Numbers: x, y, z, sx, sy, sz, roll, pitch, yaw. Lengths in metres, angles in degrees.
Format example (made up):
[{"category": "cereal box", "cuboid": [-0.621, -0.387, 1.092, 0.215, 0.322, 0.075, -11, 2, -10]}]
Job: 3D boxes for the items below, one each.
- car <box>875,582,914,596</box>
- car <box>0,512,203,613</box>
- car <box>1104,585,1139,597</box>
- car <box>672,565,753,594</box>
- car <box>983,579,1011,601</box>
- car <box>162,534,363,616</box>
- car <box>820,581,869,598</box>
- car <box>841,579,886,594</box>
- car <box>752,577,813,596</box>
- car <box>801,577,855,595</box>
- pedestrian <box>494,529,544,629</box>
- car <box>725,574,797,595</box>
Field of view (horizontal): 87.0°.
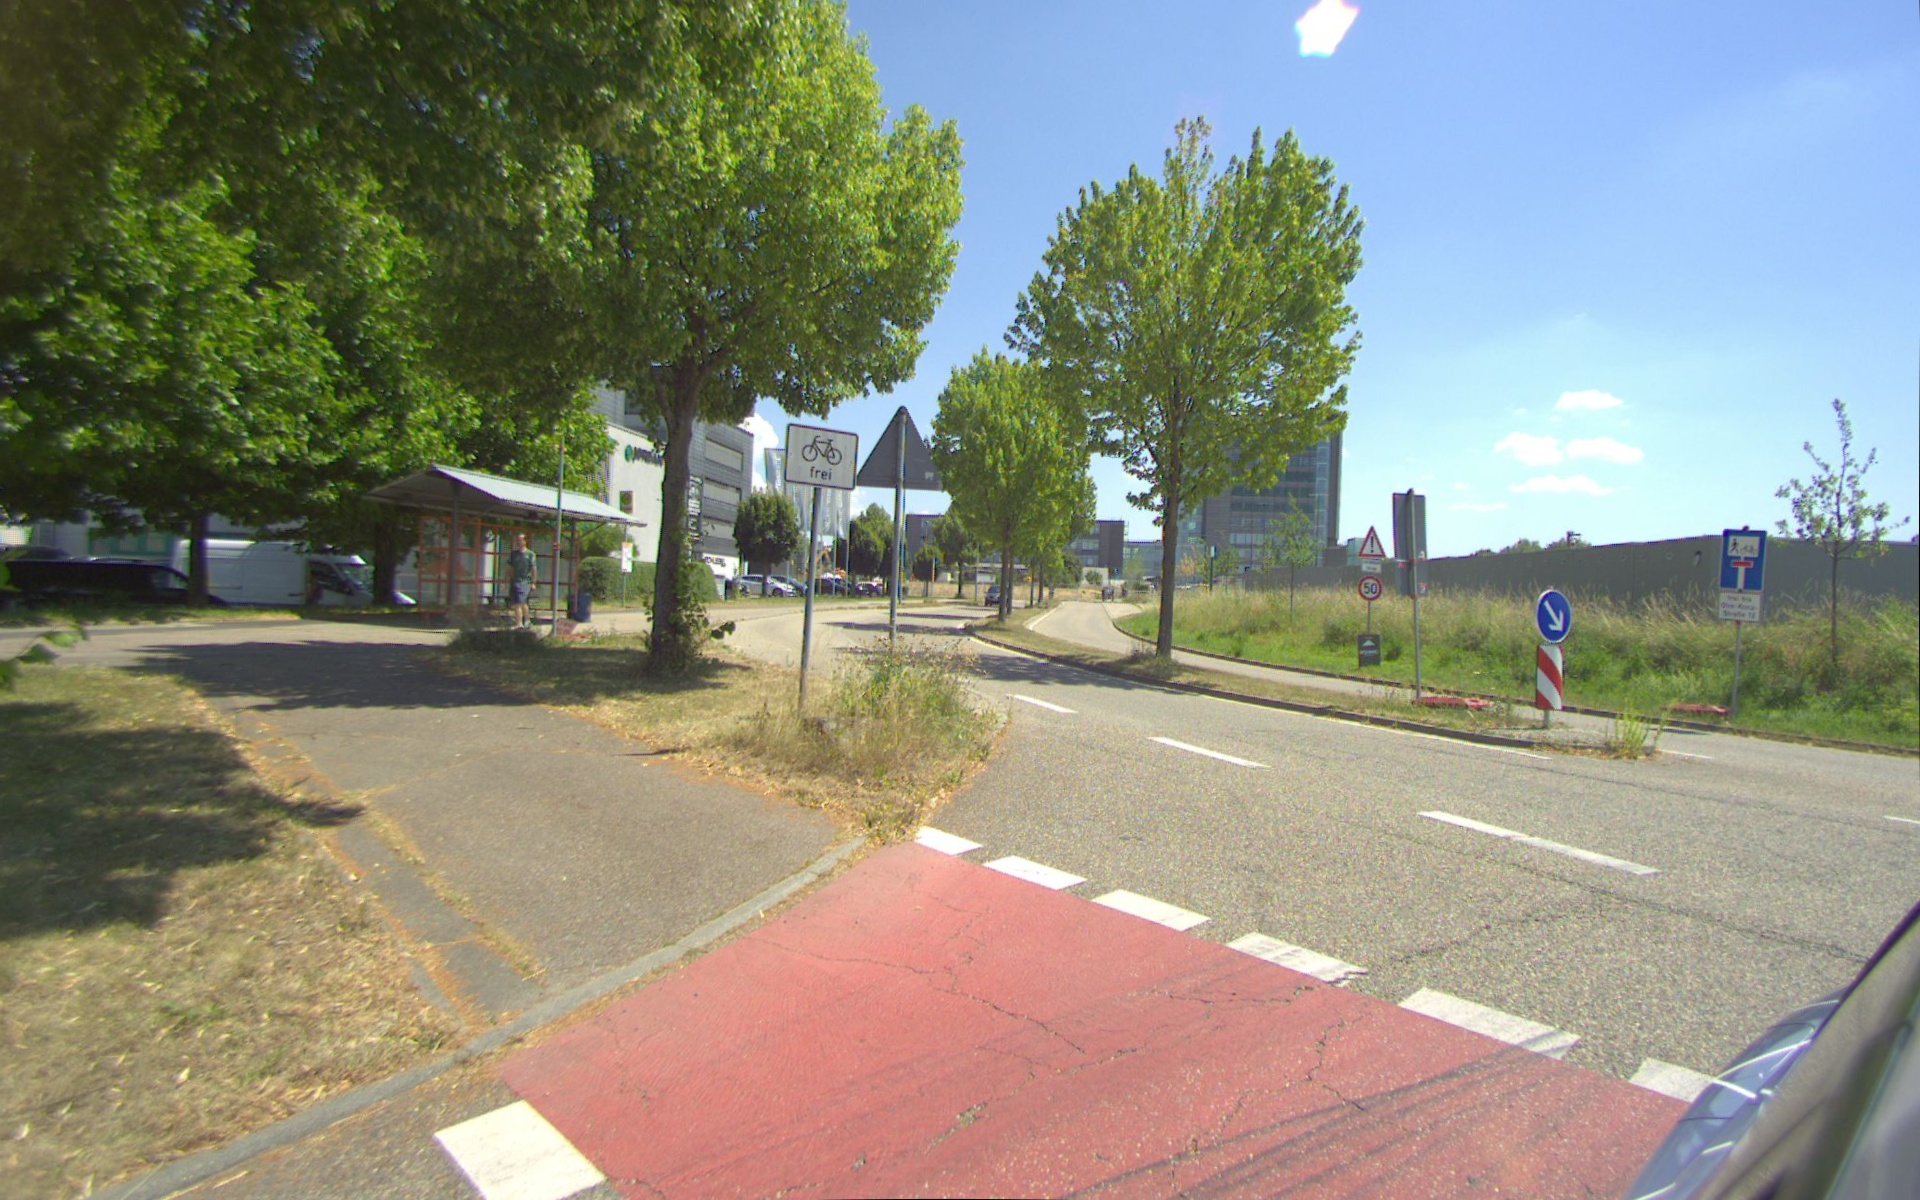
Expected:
[{"category": "car", "cuboid": [-6.639, -1.152, 102.600, 3.778, 1.290, 1.607, 1, 1, 7]}, {"category": "car", "cuboid": [-17.131, -0.717, 19.475, 1.810, 1.749, 3.990, 2, 2, 9]}, {"category": "car", "cuboid": [18.333, -0.996, 115.001, 3.778, 1.290, 1.607, 1, 1, 7]}, {"category": "car", "cuboid": [-13.201, -1.105, 54.019, 3.851, 1.396, 1.702, 1, 1, 7]}, {"category": "car", "cuboid": [2.919, -0.747, 78.310, 1.653, 1.524, 3.560, 0, -2, 11]}, {"category": "car", "cuboid": [-18.495, -0.627, 26.958, 4.181, 2.040, 1.549, 1, -2, -3]}, {"category": "car", "cuboid": [-9.692, -0.897, 85.021, 3.826, 1.290, 1.702, 1, 1, 7]}, {"category": "car", "cuboid": [-8.890, -1.258, 93.265, 3.826, 1.290, 1.702, 1, 1, 7]}, {"category": "car", "cuboid": [-12.094, -0.948, 69.013, 3.826, 1.197, 1.702, 1, 1, 7]}, {"category": "car", "cuboid": [-10.196, -1.102, 78.286, 3.826, 1.290, 1.702, 1, 1, 7]}, {"category": "pedestrian", "cuboid": [-7.606, -0.343, 17.452, 0.575, 1.691, 0.524, -1, -3, 35]}, {"category": "car", "cuboid": [-12.501, -0.985, 63.782, 4.203, 1.198, 1.490, 1, -2, 7]}]
